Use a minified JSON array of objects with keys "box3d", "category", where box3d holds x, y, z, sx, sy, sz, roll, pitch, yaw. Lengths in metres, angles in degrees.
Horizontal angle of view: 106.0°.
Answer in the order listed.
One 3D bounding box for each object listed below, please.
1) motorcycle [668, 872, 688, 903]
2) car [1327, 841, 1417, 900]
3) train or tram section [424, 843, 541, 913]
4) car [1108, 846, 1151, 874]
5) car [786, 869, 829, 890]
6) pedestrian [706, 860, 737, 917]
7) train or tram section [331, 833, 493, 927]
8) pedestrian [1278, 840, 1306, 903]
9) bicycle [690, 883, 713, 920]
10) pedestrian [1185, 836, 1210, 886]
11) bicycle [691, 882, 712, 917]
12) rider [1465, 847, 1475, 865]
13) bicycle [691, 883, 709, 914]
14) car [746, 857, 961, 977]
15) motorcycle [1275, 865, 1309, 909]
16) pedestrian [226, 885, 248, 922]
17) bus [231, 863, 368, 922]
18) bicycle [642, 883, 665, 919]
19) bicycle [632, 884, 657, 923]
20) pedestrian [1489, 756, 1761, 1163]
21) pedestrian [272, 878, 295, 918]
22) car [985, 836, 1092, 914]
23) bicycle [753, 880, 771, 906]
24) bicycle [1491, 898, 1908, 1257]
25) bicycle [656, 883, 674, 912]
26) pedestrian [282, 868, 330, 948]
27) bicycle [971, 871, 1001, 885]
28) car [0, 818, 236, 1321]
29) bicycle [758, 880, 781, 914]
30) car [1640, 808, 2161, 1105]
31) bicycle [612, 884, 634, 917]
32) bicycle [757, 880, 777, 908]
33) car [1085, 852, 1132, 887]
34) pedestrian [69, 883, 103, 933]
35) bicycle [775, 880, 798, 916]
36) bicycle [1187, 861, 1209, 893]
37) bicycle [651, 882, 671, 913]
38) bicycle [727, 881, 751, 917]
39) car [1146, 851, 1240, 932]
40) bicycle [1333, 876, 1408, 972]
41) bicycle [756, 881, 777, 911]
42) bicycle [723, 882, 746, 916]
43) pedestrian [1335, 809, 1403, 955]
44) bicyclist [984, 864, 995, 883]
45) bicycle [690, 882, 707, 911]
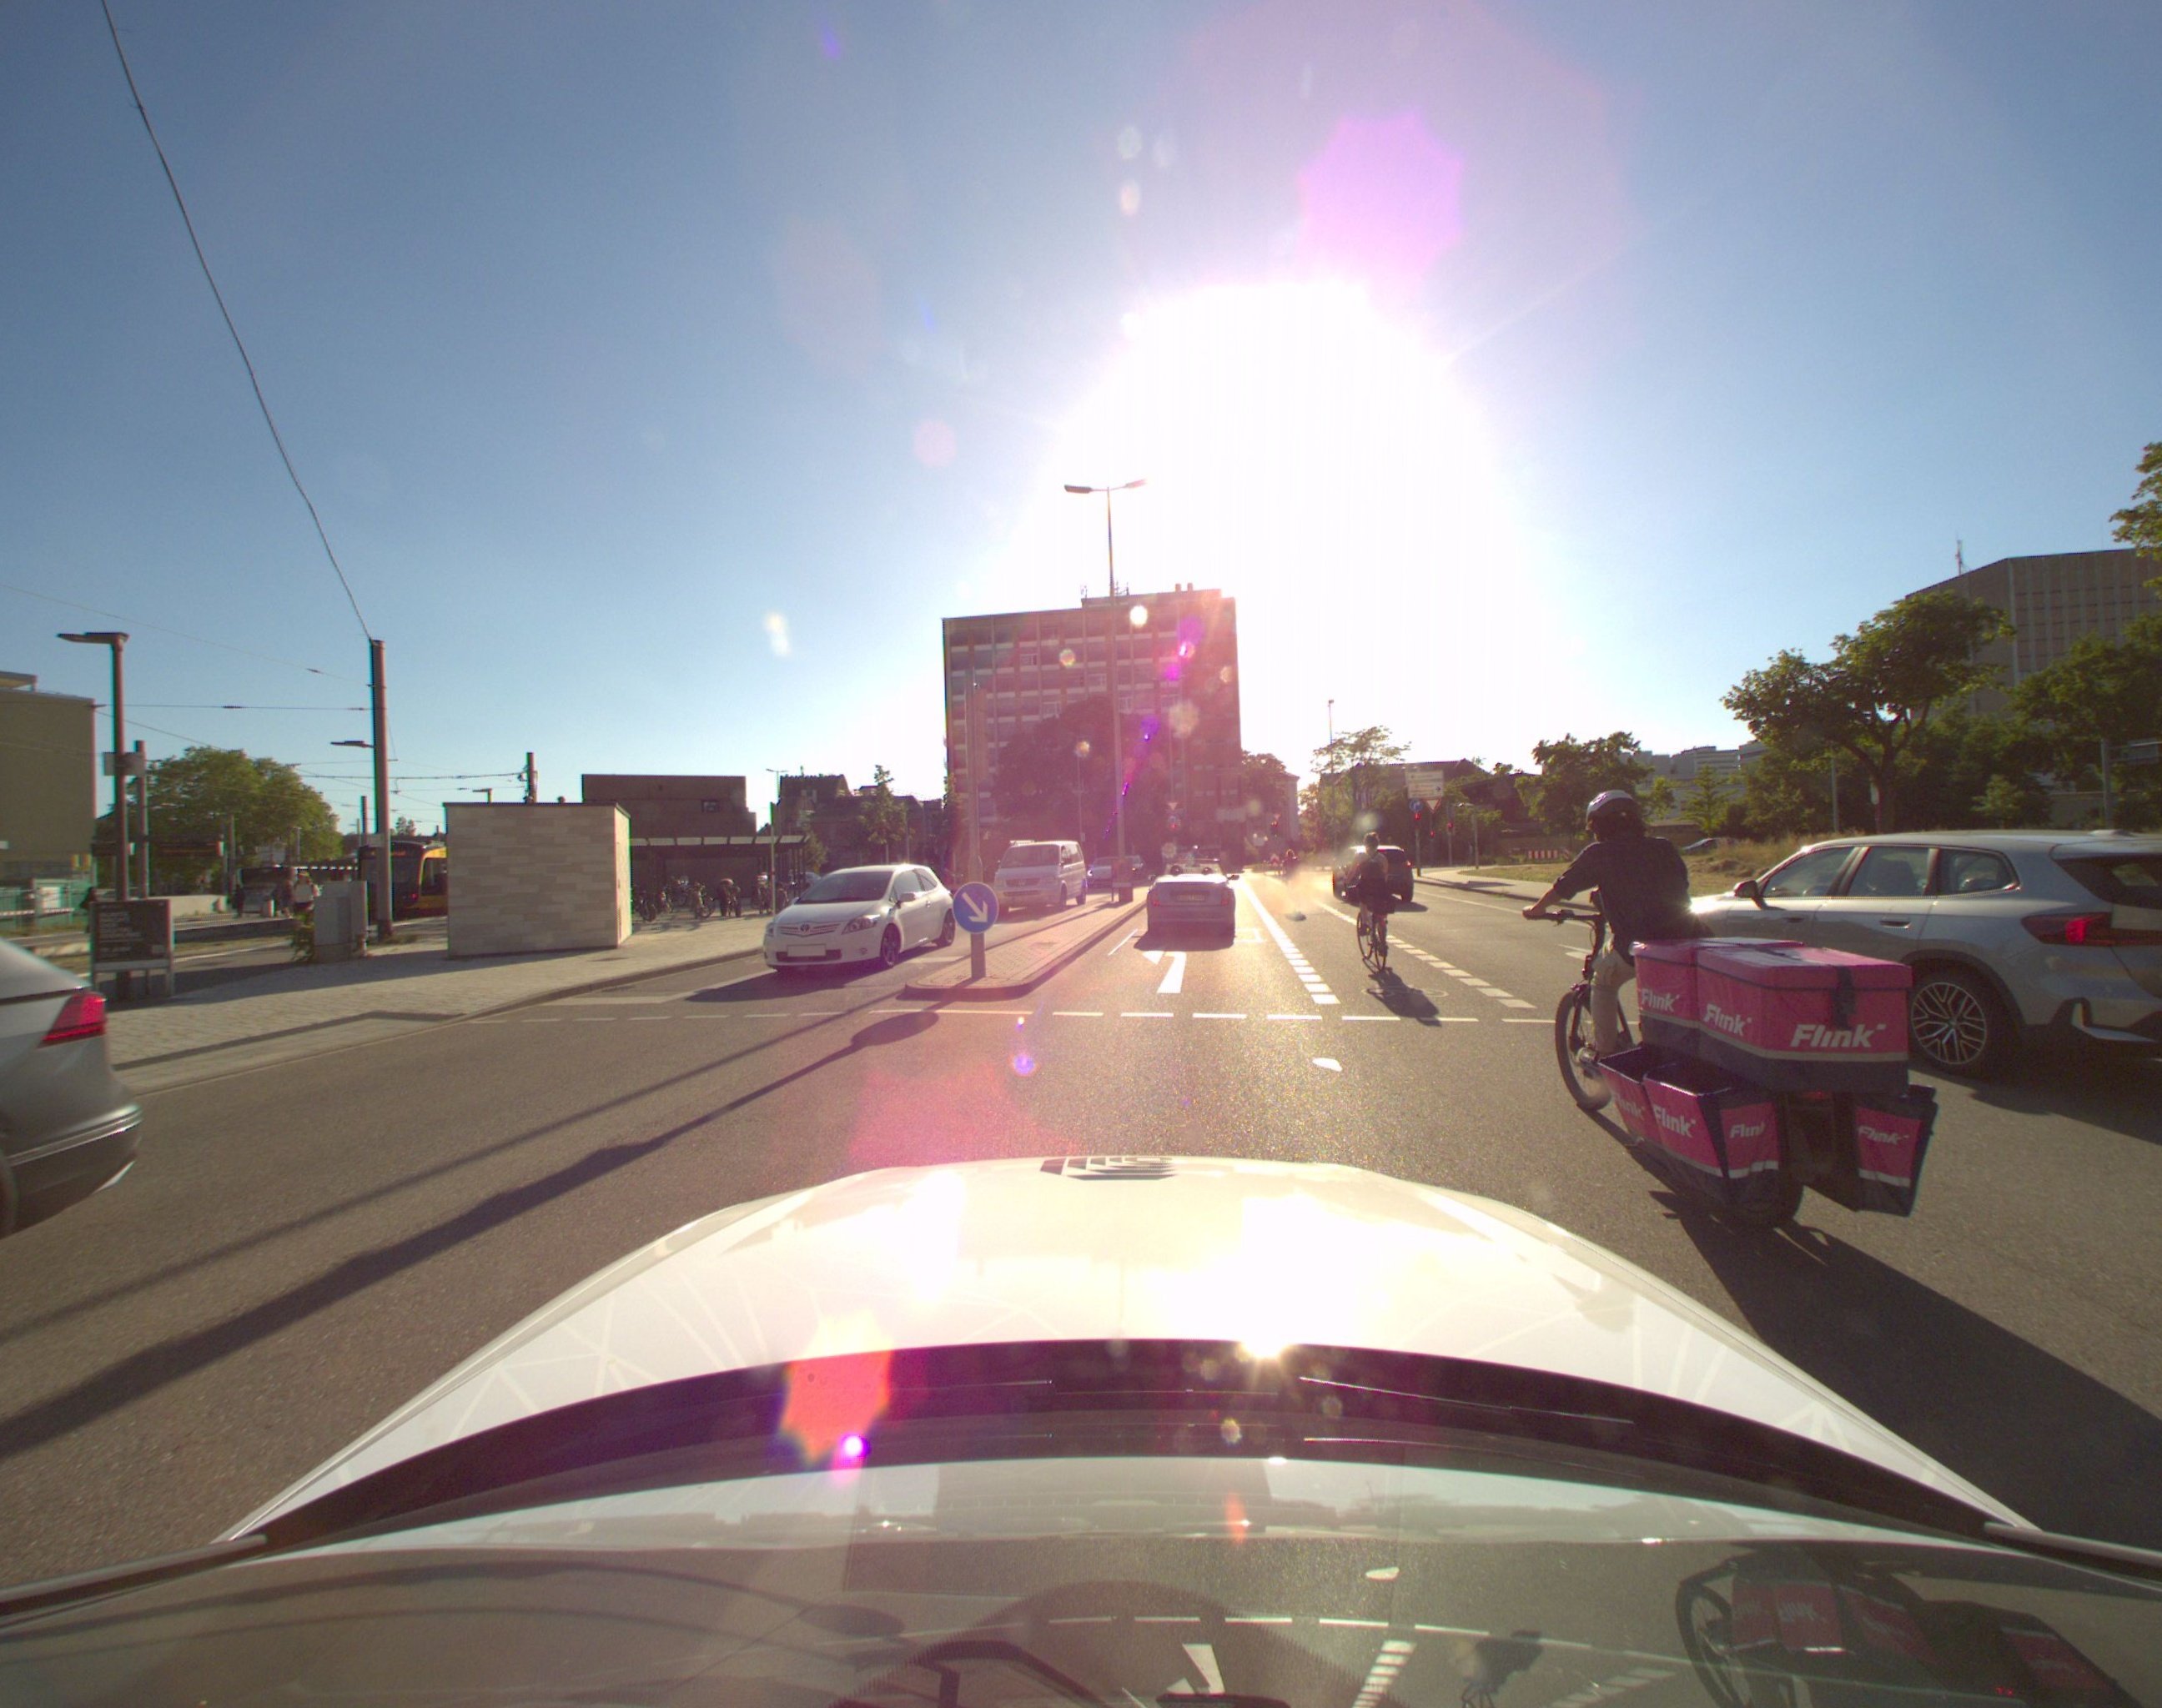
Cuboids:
[{"box3d":[-18.654,1.519,37.692,0.770,1.390,1.880,0,-1,-27],"category":"motorcycle"},{"box3d":[8.962,0.515,25.449,1.821,1.689,4.378,-1,-1,8],"category":"car"},{"box3d":[-34.993,1.370,48.225,3.026,3.597,12.101,0,-1,-24],"category":"train or tram section"},{"box3d":[2.978,0.353,49.073,1.786,1.530,4.016,-3,-1,14],"category":"car"},{"box3d":[-22.780,2.120,67.751,3.553,1.560,1.655,-3,-1,37],"category":"car"},{"box3d":[-12.047,1.141,27.286,0.905,1.869,0.681,0,-2,-27],"category":"pedestrian"},{"box3d":[-29.954,1.110,37.212,2.896,3.597,12.095,0,-1,-26],"category":"train or tram section"},{"box3d":[5.499,0.465,21.302,0.584,1.598,1.027,-1,-1,8],"category":"pedestrian"},{"box3d":[-12.063,1.488,25.864,0.610,1.115,1.880,0,-1,-26],"category":"bicycle"},{"box3d":[4.426,0.265,30.975,0.827,1.869,0.924,-1,-1,13],"category":"pedestrian"},{"box3d":[-12.942,1.543,27.770,0.610,1.115,1.880,0,-1,-26],"category":"bicycle"},{"box3d":[35.276,0.150,73.869,0.745,1.598,0.592,-1,-1,21],"category":"rider"},{"box3d":[-14.577,1.675,31.155,0.610,1.115,1.880,0,-1,-26],"category":"bicycle"},{"box3d":[-3.378,0.870,12.955,1.684,1.560,3.990,-2,0,10],"category":"car"},{"box3d":[5.521,0.844,21.383,0.610,1.098,2.366,-1,-1,9],"category":"motorcycle"},{"box3d":[-41.403,2.419,39.953,0.574,1.749,0.633,-2,-1,-33],"category":"pedestrian"},{"box3d":[-49.254,2.276,51.928,2.736,3.274,13.341,0,-1,-28],"category":"bus"},{"box3d":[-14.194,1.554,27.071,0.610,1.115,1.880,0,-1,-26],"category":"bicycle"},{"box3d":[-13.454,1.508,25.127,0.610,1.115,1.880,0,-1,-26],"category":"bicycle"},{"box3d":[2.756,0.491,4.258,0.802,1.869,0.958,-1,-1,6],"category":"pedestrian"},{"box3d":[-35.584,1.955,36.348,0.643,1.749,0.565,-2,-1,-41],"category":"pedestrian"},{"box3d":[-1.103,0.557,23.680,1.896,1.945,4.720,-4,-1,11],"category":"car"},{"box3d":[-14.569,1.757,37.162,0.610,1.115,1.880,0,-1,-26],"category":"bicycle"},{"box3d":[2.783,0.848,4.077,0.551,1.171,2.377,-1,-1,8],"category":"bicycle"},{"box3d":[-16.579,1.717,32.493,0.610,1.115,1.880,0,-1,-26],"category":"bicycle"},{"box3d":[-17.373,1.193,18.271,0.642,1.749,0.566,-2,-1,-33],"category":"pedestrian"},{"box3d":[-7.965,2.004,68.304,2.388,1.191,0.612,-1,-1,16],"category":"bicycle"},{"box3d":[-4.846,0.784,1.324,1.751,1.706,4.542,-4,-1,10],"category":"car"},{"box3d":[-10.976,1.501,28.678,0.610,1.115,1.880,0,-1,-26],"category":"bicycle"},{"box3d":[6.659,0.571,6.484,1.778,1.594,4.336,0,-1,6],"category":"car"},{"box3d":[-16.884,1.696,30.043,0.610,1.115,1.880,0,-1,-26],"category":"bicycle"},{"box3d":[-13.097,1.644,33.943,0.610,1.115,1.880,0,-1,-26],"category":"bicycle"},{"box3d":[1.412,0.717,39.927,1.789,1.530,4.010,-3,-1,8],"category":"car"},{"box3d":[-35.537,1.914,29.086,0.643,1.749,0.565,-2,-1,-41],"category":"pedestrian"},{"box3d":[-9.760,1.431,26.923,0.609,1.115,1.882,0,-1,-23],"category":"bicycle"},{"box3d":[4.477,0.872,31.088,0.603,1.191,2.423,-1,-1,13],"category":"bicycle"},{"box3d":[-15.755,1.625,30.590,0.610,1.115,1.880,0,-1,-26],"category":"bicycle"},{"box3d":[-11.057,1.429,26.273,0.610,1.115,1.880,0,-1,-26],"category":"bicycle"},{"box3d":[2.282,0.718,16.639,1.651,1.441,4.163,-1,-1,8],"category":"car"},{"box3d":[3.835,0.886,10.929,0.560,1.151,1.954,-1,-1,8],"category":"bicycle"},{"box3d":[-12.400,1.626,32.097,0.610,1.115,1.880,0,-1,-26],"category":"bicycle"},{"box3d":[-11.939,1.529,28.027,0.610,1.115,1.880,0,-1,-26],"category":"bicycle"},{"box3d":[3.830,0.372,10.890,0.655,1.869,0.874,-1,-1,7],"category":"pedestrian"},{"box3d":[-7.678,1.658,68.161,0.746,1.598,0.592,-1,-1,16],"category":"bicyclist"},{"box3d":[-15.489,1.695,32.944,0.610,1.115,1.880,0,-1,-26],"category":"bicycle"}]
